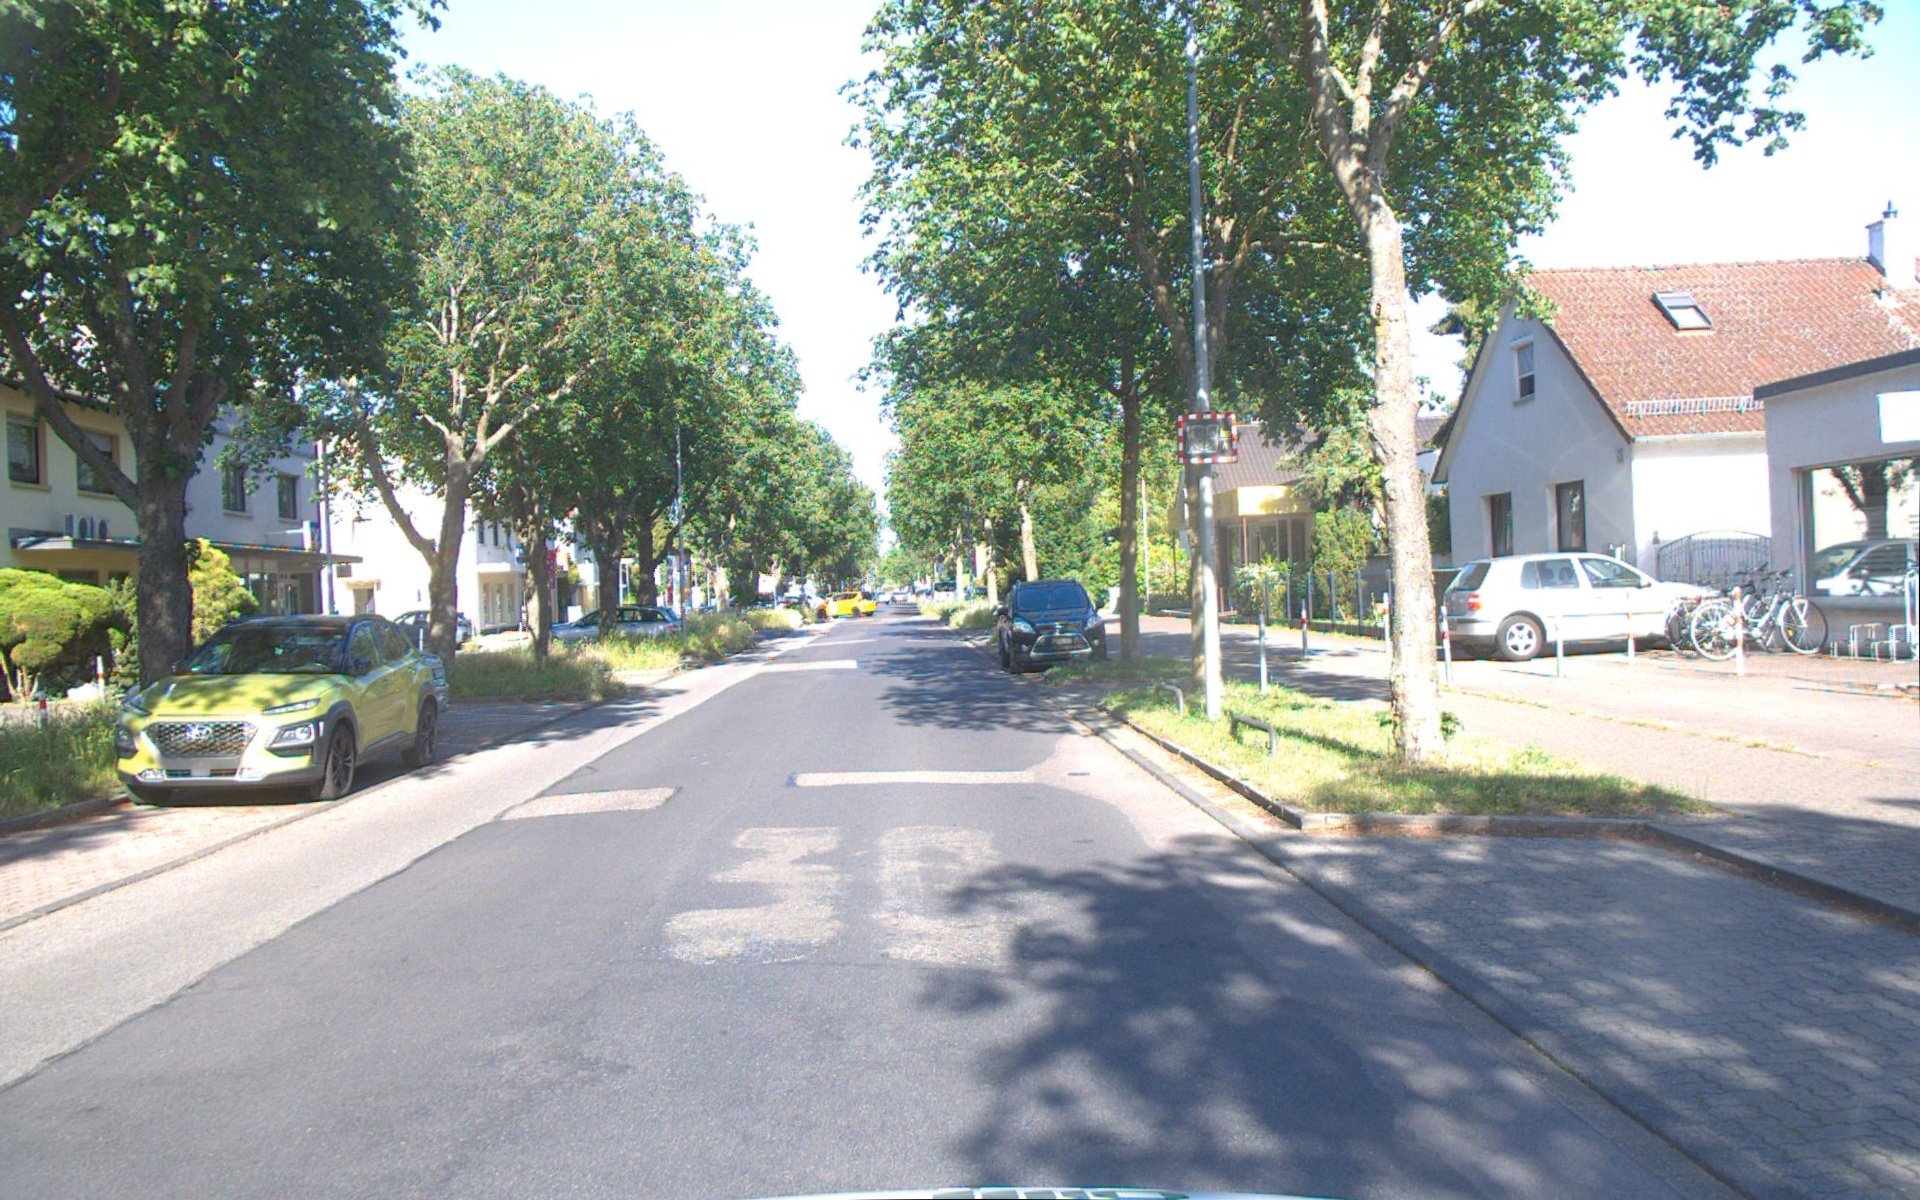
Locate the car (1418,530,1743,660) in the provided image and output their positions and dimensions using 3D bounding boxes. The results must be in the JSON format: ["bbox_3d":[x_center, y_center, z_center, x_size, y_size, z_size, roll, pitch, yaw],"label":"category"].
[{"bbox_3d":[8.898,-0.108,23.915,3.909,1.514,1.901,-4,2,-4],"label":"car"}]

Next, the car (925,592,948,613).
[{"bbox_3d":[-2.025,0.197,142.956,1.864,1.805,4.299,-1,0,-2],"label":"car"}]

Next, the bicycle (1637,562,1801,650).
[{"bbox_3d":[10.013,0.067,21.846,1.886,1.015,0.576,-4,2,-4],"label":"bicycle"}]

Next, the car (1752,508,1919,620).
[{"bbox_3d":[14.861,-0.638,25.978,3.910,1.514,1.900,-4,2,-5],"label":"car"}]

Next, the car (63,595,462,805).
[{"bbox_3d":[-6.207,0.818,15.353,1.900,1.637,4.382,-1,-1,-1],"label":"car"}]

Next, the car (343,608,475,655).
[{"bbox_3d":[-21.301,1.208,64.094,4.467,1.646,1.998,-1,2,-6],"label":"car"}]

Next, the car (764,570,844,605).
[{"bbox_3d":[-10.656,-0.877,113.367,5.390,2.286,2.515,-1,2,-4],"label":"car"}]

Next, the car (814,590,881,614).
[{"bbox_3d":[-7.024,0.125,103.443,3.802,1.505,1.891,0,0,29],"label":"car"}]

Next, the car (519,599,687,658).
[{"bbox_3d":[-10.280,0.812,47.924,4.463,1.537,1.840,-1,2,-3],"label":"car"}]

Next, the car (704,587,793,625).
[{"bbox_3d":[-10.904,0.300,85.457,4.459,1.796,1.997,-1,2,-7],"label":"car"}]

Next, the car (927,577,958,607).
[{"bbox_3d":[-1.106,-0.505,104.797,1.864,1.805,4.299,-1,0,-2],"label":"car"}]

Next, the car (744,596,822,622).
[{"bbox_3d":[-9.828,0.491,91.745,4.205,1.338,1.906,-1,2,-7],"label":"car"}]

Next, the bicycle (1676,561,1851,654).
[{"bbox_3d":[10.122,0.090,20.866,1.919,1.015,0.576,-4,2,-4],"label":"bicycle"}]

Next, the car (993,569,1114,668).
[{"bbox_3d":[1.726,0.348,31.963,1.816,1.654,4.467,-4,0,-2],"label":"car"}]
